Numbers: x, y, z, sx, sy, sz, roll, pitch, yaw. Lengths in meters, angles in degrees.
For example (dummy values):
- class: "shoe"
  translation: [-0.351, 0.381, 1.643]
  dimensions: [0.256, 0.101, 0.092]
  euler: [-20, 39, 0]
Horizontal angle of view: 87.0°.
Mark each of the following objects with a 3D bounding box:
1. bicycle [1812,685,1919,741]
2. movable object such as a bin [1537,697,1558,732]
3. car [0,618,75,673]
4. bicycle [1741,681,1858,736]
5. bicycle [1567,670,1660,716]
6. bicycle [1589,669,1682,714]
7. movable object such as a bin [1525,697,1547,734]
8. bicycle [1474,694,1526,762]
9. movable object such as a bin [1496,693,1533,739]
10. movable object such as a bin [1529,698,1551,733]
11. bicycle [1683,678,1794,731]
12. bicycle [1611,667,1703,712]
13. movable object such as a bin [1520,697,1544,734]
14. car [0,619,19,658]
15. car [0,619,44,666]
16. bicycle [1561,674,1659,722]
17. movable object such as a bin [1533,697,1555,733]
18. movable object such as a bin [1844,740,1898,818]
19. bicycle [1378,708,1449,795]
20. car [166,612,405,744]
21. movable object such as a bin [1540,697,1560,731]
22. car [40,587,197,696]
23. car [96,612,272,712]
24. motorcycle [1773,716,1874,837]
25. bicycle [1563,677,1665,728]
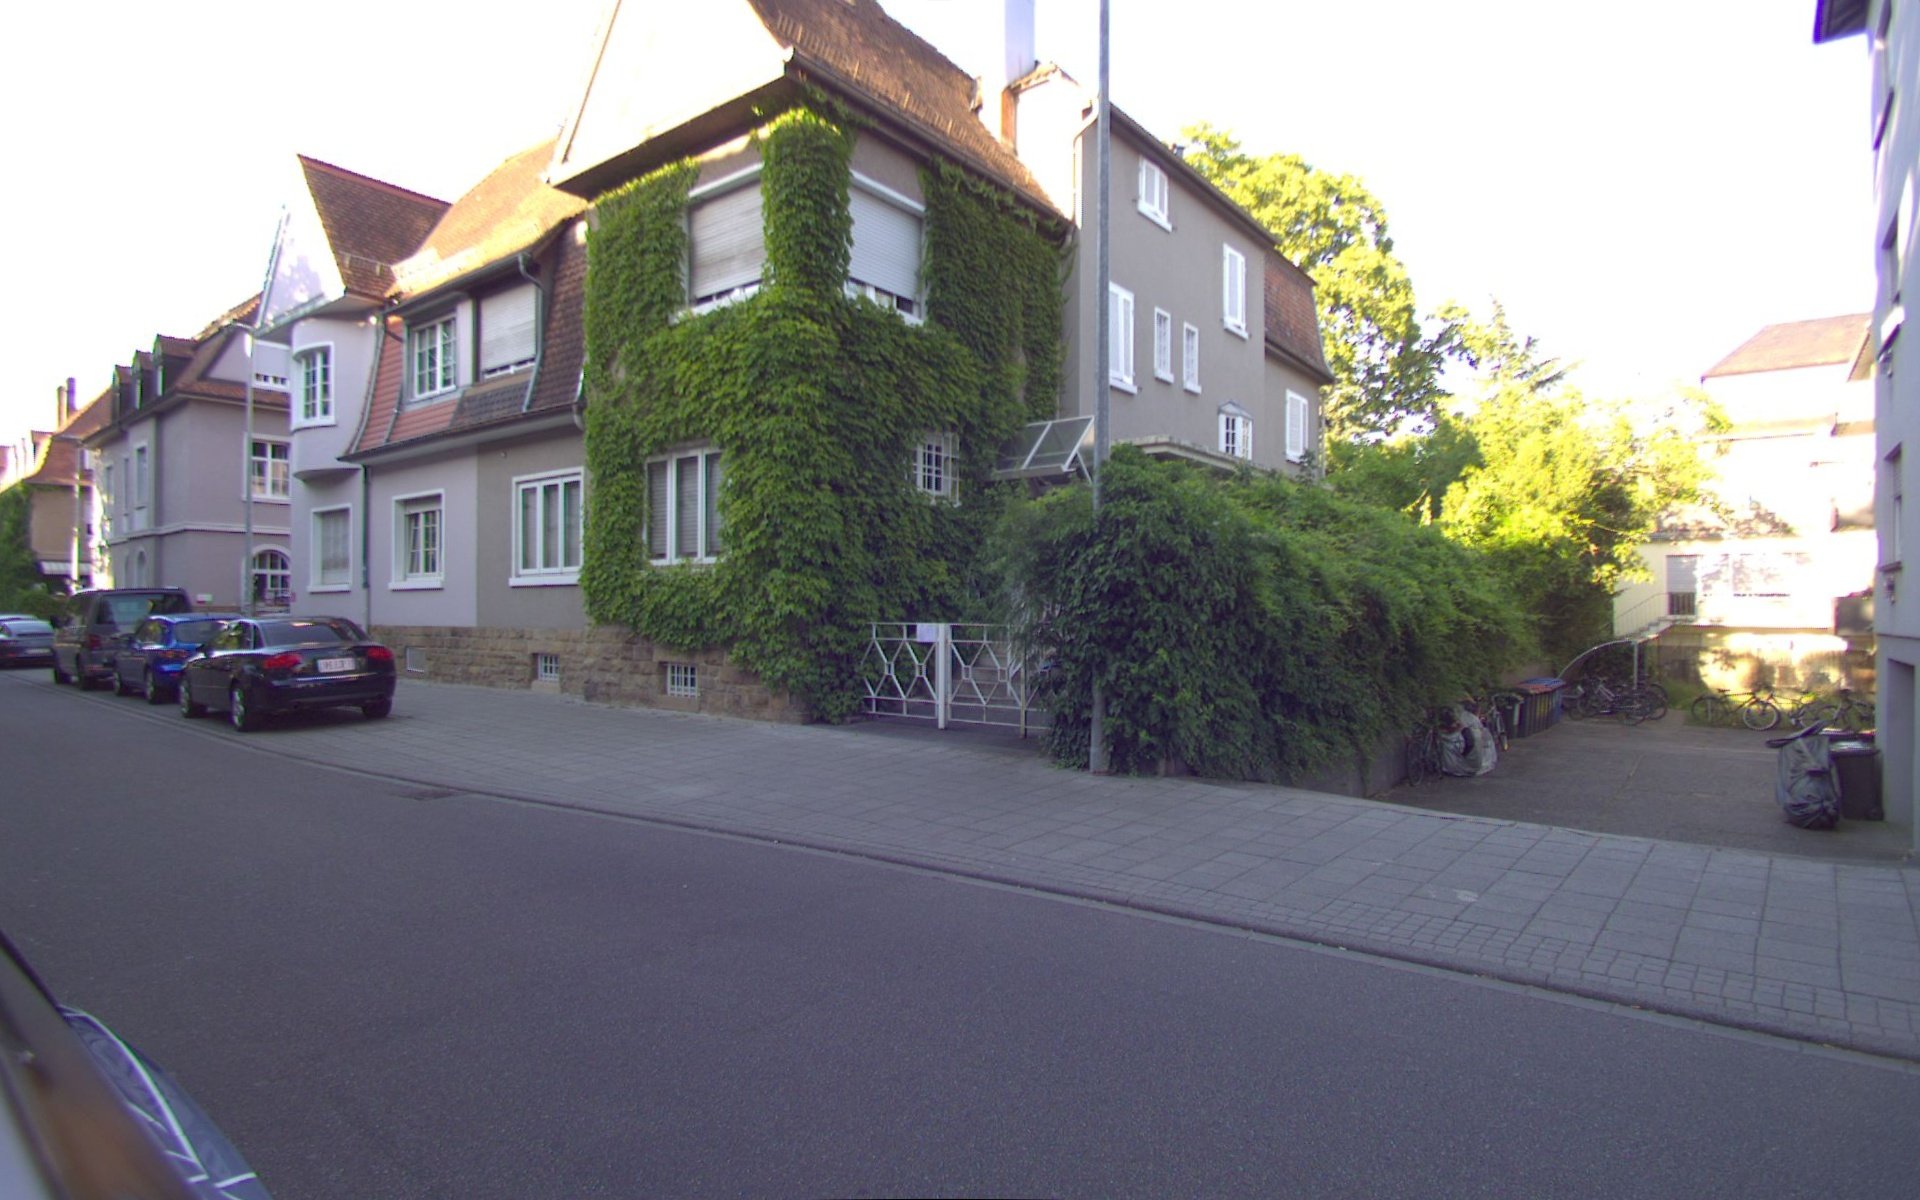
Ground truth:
- class: "bicycle"
  translation: [20.548, 2.531, 22.793]
  dimensions: [2.068, 1.028, 0.634]
  euler: [1, 3, 41]
- class: "movable object such as a bin"
  translation: [13.548, 2.637, 23.346]
  dimensions: [0.367, 0.764, 0.359]
  euler: [-1, -4, 41]
- class: "car"
  translation: [-26.338, 1.234, 28.341]
  dimensions: [4.331, 1.381, 1.698]
  euler: [-1, 1, 40]
- class: "bicycle"
  translation: [19.588, 2.514, 23.646]
  dimensions: [2.068, 1.028, 0.634]
  euler: [1, 3, 41]
- class: "bicycle"
  translation: [17.712, 2.507, 27.464]
  dimensions: [2.068, 1.028, 0.608]
  euler: [1, 3, 41]
- class: "bicycle"
  translation: [18.629, 2.495, 27.930]
  dimensions: [2.068, 1.028, 0.608]
  euler: [1, 3, 41]
- class: "movable object such as a bin"
  translation: [12.783, 2.550, 22.456]
  dimensions: [0.381, 0.779, 0.359]
  euler: [-1, -4, 41]
- class: "bicycle"
  translation: [9.969, 2.331, 18.664]
  dimensions: [0.514, 1.027, 1.914]
  euler: [1, 0, 38]
- class: "movable object such as a bin"
  translation: [11.556, 2.404, 21.087]
  dimensions: [0.576, 0.886, 0.488]
  euler: [0, -3, 41]
- class: "movable object such as a bin"
  translation: [13.034, 2.591, 22.757]
  dimensions: [0.375, 0.764, 0.359]
  euler: [-1, -4, 41]
- class: "bicycle"
  translation: [18.728, 2.494, 24.385]
  dimensions: [2.068, 1.028, 0.634]
  euler: [1, 3, 41]
- class: "bicycle"
  translation: [19.431, 2.485, 28.235]
  dimensions: [2.068, 1.028, 0.561]
  euler: [1, 3, 41]
- class: "movable object such as a bin"
  translation: [12.514, 2.522, 22.153]
  dimensions: [0.398, 0.779, 0.359]
  euler: [-1, -4, 41]
- class: "car"
  translation: [-36.528, 1.447, 37.683]
  dimensions: [3.942, 1.381, 1.698]
  euler: [-1, 1, 40]
- class: "car"
  translation: [-30.340, 1.338, 31.989]
  dimensions: [3.942, 1.381, 1.522]
  euler: [-1, 1, 40]
- class: "bicycle"
  translation: [16.851, 2.518, 26.262]
  dimensions: [2.068, 1.028, 0.565]
  euler: [1, 3, 41]
- class: "movable object such as a bin"
  translation: [13.297, 2.615, 23.050]
  dimensions: [0.367, 0.764, 0.359]
  euler: [-1, -4, 41]
- class: "movable object such as a bin"
  translation: [11.773, 2.297, 13.090]
  dimensions: [0.432, 0.894, 0.717]
  euler: [-1, -3, 37]
- class: "bicycle"
  translation: [6.800, 2.231, 15.137]
  dimensions: [0.514, 1.027, 1.914]
  euler: [1, 0, 38]
- class: "car"
  translation: [-9.297, 0.940, 13.822]
  dimensions: [4.023, 1.439, 1.729]
  euler: [0, 2, 42]
- class: "movable object such as a bin"
  translation: [13.797, 2.657, 23.651]
  dimensions: [0.346, 0.764, 0.359]
  euler: [-1, -4, 41]
- class: "car"
  translation: [-17.449, 0.778, 20.923]
  dimensions: [4.308, 1.987, 1.698]
  euler: [0, 2, 40]
- class: "car"
  translation: [-13.718, 0.995, 17.822]
  dimensions: [4.021, 1.475, 1.591]
  euler: [0, 2, 40]
- class: "motorcycle"
  translation: [10.727, 2.151, 12.622]
  dimensions: [0.757, 1.261, 1.575]
  euler: [-1, -3, 34]
- class: "bicycle"
  translation: [16.286, 2.526, 25.250]
  dimensions: [2.068, 1.028, 0.634]
  euler: [1, 3, 41]
